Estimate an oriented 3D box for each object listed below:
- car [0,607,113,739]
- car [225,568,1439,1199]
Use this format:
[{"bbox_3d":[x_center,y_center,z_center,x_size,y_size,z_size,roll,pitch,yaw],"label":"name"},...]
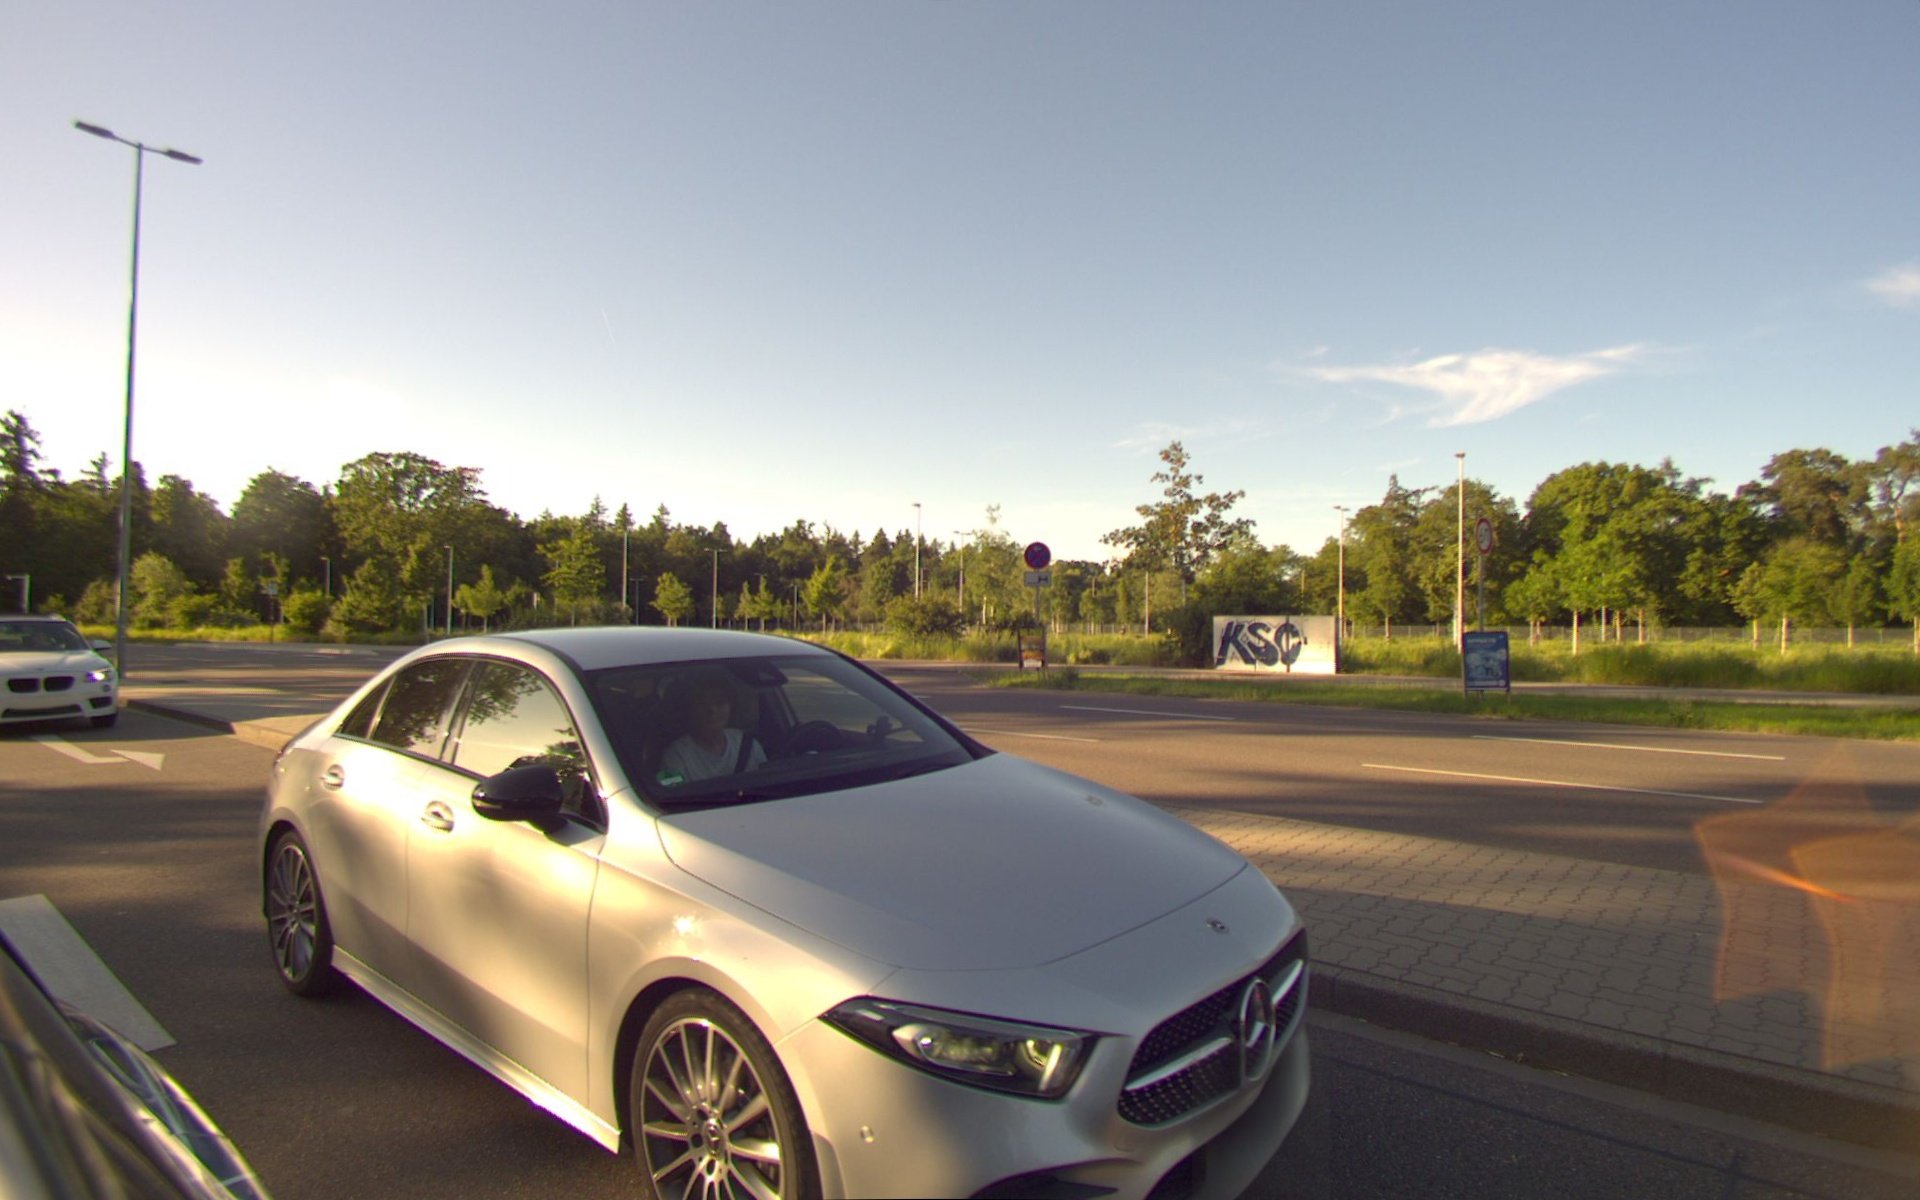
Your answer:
[{"bbox_3d":[-13.275,0.979,14.018,4.432,1.593,1.701,-3,-1,41],"label":"car"},{"bbox_3d":[-0.871,0.733,3.531,4.274,1.455,1.767,-2,-1,40],"label":"car"}]
